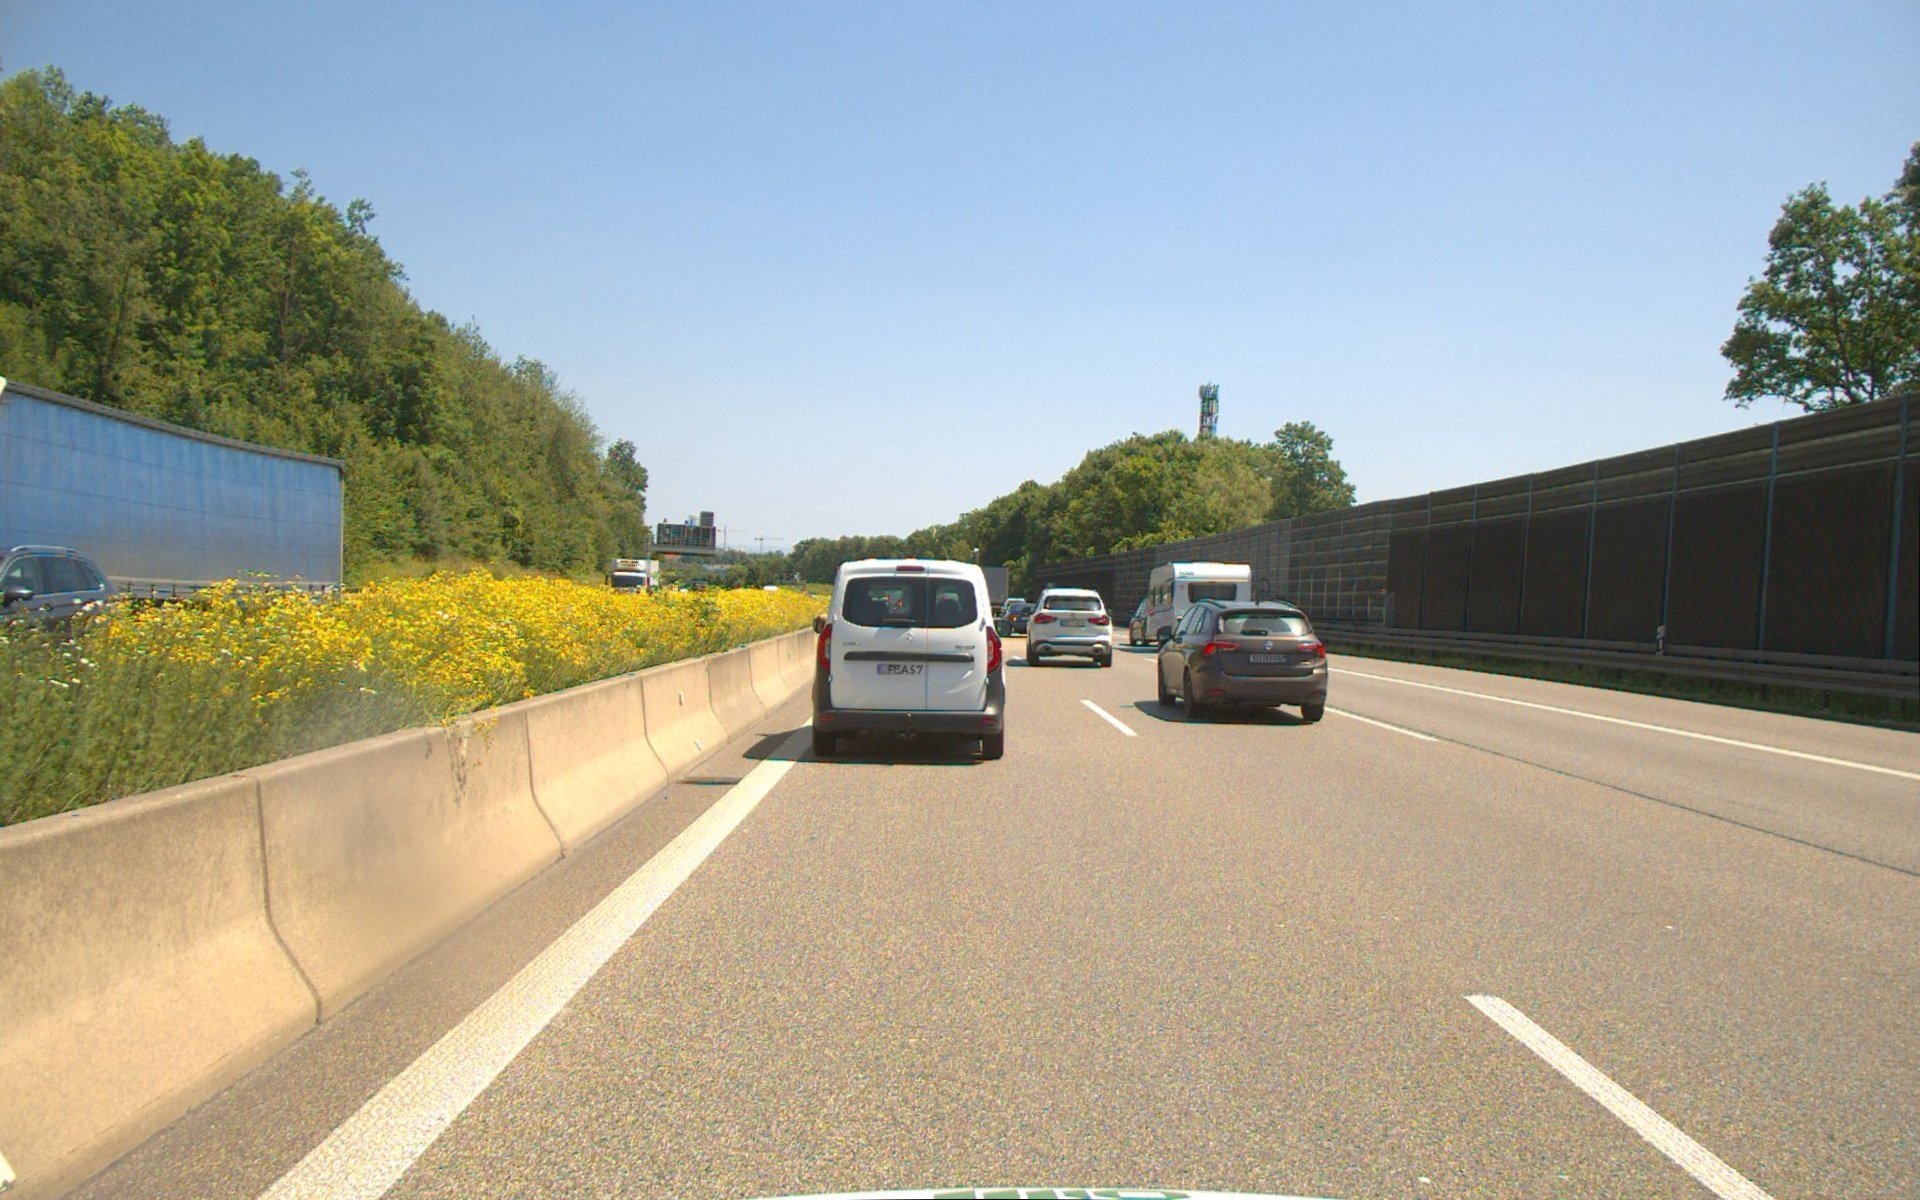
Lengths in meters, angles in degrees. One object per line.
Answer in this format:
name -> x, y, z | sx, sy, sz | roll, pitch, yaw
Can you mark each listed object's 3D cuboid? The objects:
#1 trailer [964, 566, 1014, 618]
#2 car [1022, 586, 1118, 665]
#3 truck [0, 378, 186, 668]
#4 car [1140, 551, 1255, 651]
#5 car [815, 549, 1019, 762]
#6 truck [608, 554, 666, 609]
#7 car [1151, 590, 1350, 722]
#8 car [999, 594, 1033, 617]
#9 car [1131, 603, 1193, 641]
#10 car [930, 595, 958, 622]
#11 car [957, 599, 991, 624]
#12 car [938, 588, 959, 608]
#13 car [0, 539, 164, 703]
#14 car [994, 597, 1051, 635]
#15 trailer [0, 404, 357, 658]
trailer -> 2.316, -0.626, 136.590 | 3.022, 4.055, 10.312 | 1, 0, -5
car -> 2.434, 0.536, 37.532 | 1.833, 1.636, 3.878 | 2, 0, -1
truck -> -14.348, -1.077, 23.600 | 2.692, 3.924, 8.411 | 1, 0, -1
car -> 7.138, 0.028, 50.469 | 2.429, 2.814, 6.217 | 1, 0, -2
car -> -0.403, 0.488, 16.517 | 1.766, 1.839, 3.999 | 1, 0, -1
truck -> -21.797, -1.209, 111.902 | 2.680, 3.535, 7.312 | 1, 0, -2
car -> 3.774, 0.666, 22.215 | 1.801, 1.539, 4.401 | 2, 0, -1
car -> 3.742, 0.367, 111.231 | 1.788, 1.449, 3.996 | 2, 0, -5
car -> 8.153, 0.873, 67.069 | 1.788, 1.449, 3.997 | 1, 0, -3
car -> -1.264, 0.642, 128.279 | 1.788, 2.023, 3.996 | 2, 1, -5
car -> 0.832, 0.674, 99.217 | 1.788, 1.449, 3.997 | 1, 0, -3
car -> -1.226, -0.248, 175.085 | 1.955, 2.049, 3.996 | 1, 0, -5
car -> -10.327, 0.177, 17.134 | 1.953, 1.589, 4.638 | 2, 0, -1
car -> 2.505, 0.626, 66.892 | 1.788, 1.449, 3.996 | 1, 0, -5
trailer -> -14.485, -1.121, 30.972 | 2.724, 3.924, 10.168 | 1, 0, -1
